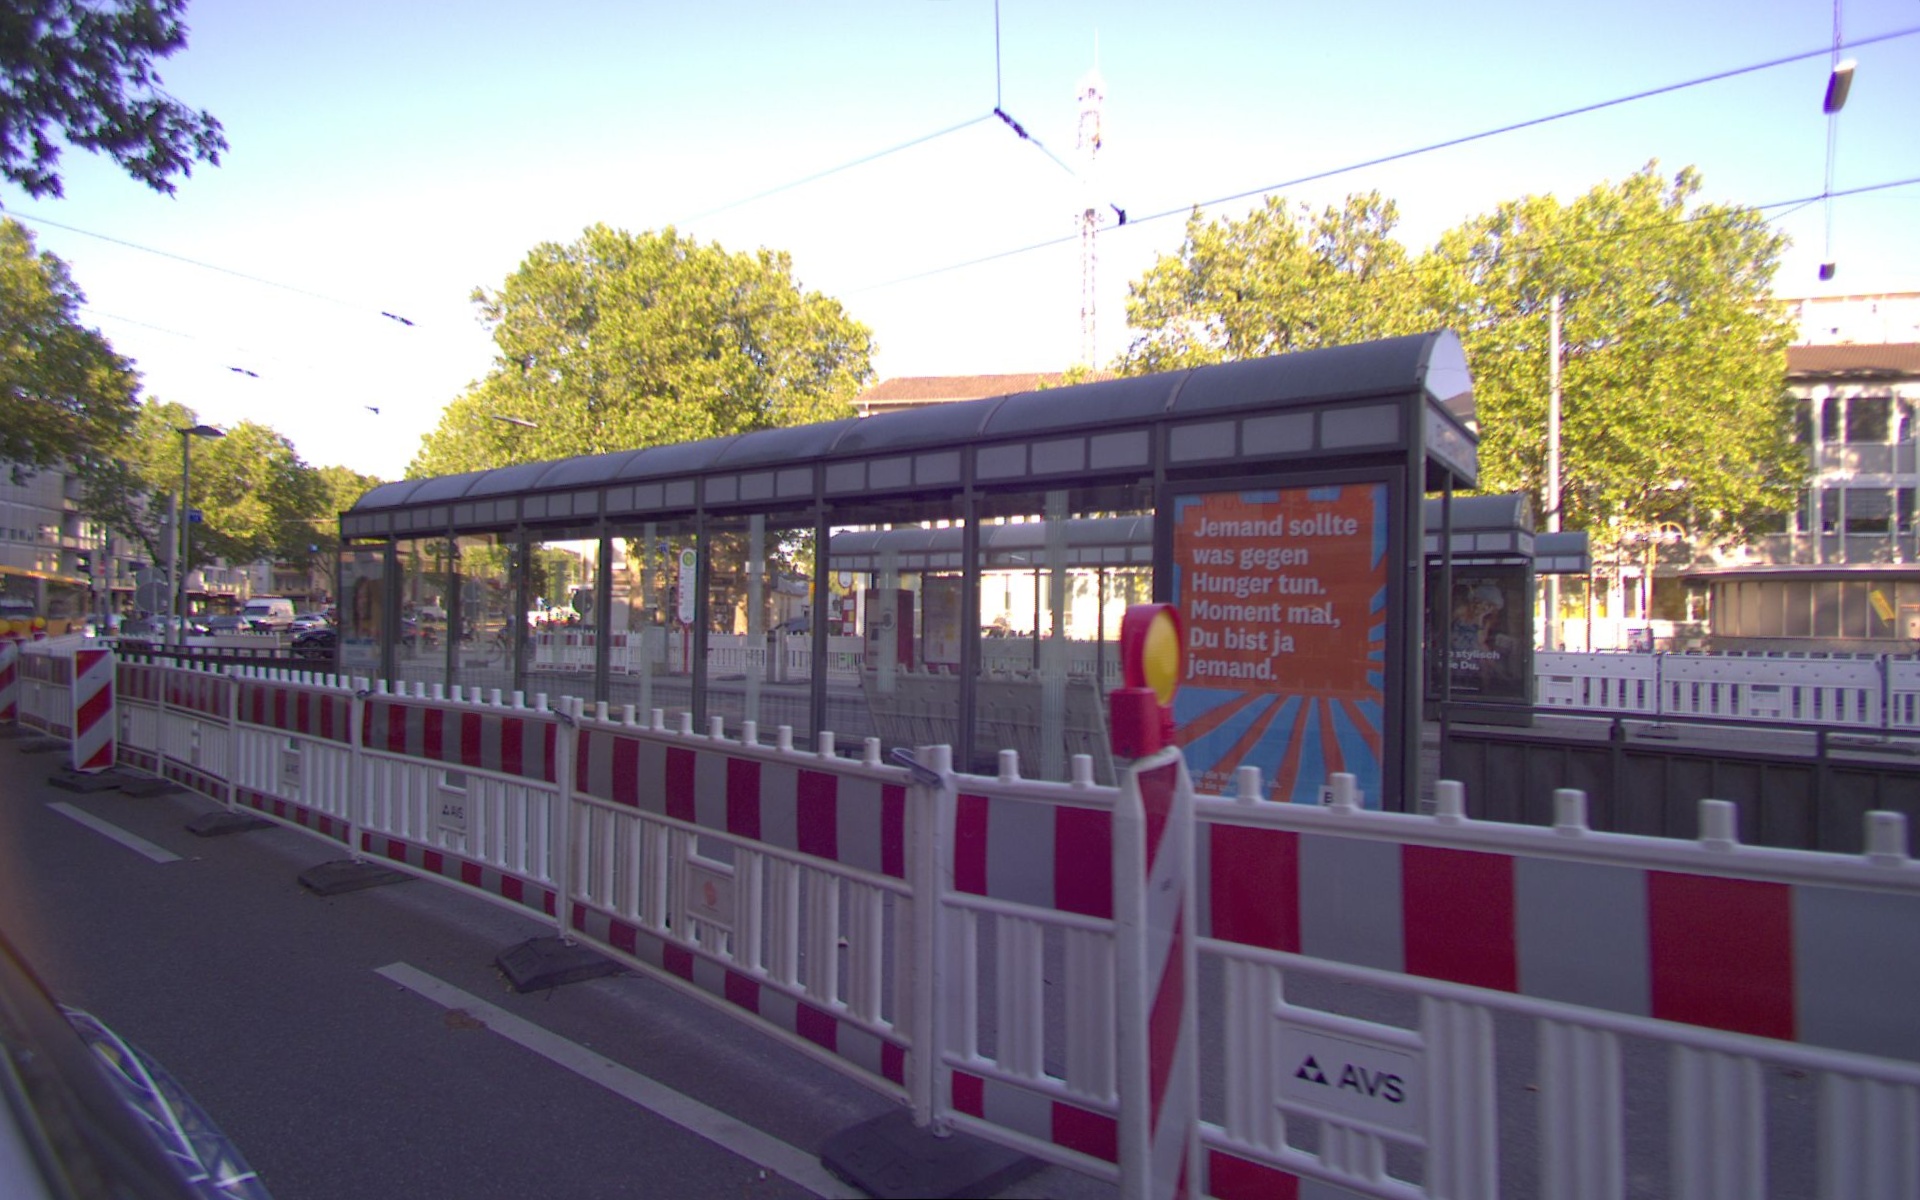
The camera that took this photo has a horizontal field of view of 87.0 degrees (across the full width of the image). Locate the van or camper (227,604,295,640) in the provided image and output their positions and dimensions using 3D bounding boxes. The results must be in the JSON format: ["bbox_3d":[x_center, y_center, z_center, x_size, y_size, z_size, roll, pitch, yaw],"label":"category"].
[{"bbox_3d":[-52.197,1.639,75.667,2.254,2.558,5.509,0,-1,-13],"label":"van or camper"}]

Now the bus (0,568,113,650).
[{"bbox_3d":[-40.986,0.483,45.446,2.693,3.231,12.397,-1,-1,-32],"label":"bus"}]

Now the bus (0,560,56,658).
[{"bbox_3d":[-34.513,0.381,35.283,2.694,3.231,12.339,-1,-1,-34],"label":"bus"}]

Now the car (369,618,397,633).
[{"bbox_3d":[-60.911,2.686,106.924,1.677,1.599,3.717,0,-1,-16],"label":"car"}]

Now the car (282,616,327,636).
[{"bbox_3d":[-54.374,2.183,84.040,1.966,1.608,4.011,1,-1,-14],"label":"car"}]

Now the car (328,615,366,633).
[{"bbox_3d":[-57.337,2.265,94.688,1.966,1.608,4.011,0,-2,-15],"label":"car"}]

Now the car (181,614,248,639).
[{"bbox_3d":[-49.254,1.754,66.970,1.966,1.608,4.573,0,-1,-14],"label":"car"}]

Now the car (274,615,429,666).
[{"bbox_3d":[-21.981,1.495,36.760,4.363,1.660,2.005,3,-4,-14],"label":"car"}]

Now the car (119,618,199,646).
[{"bbox_3d":[-47.230,1.867,59.787,1.966,1.608,4.573,0,-2,-14],"label":"car"}]

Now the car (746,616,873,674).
[{"bbox_3d":[-5.063,1.454,33.992,3.991,1.829,1.976,-1,-1,36],"label":"car"}]
